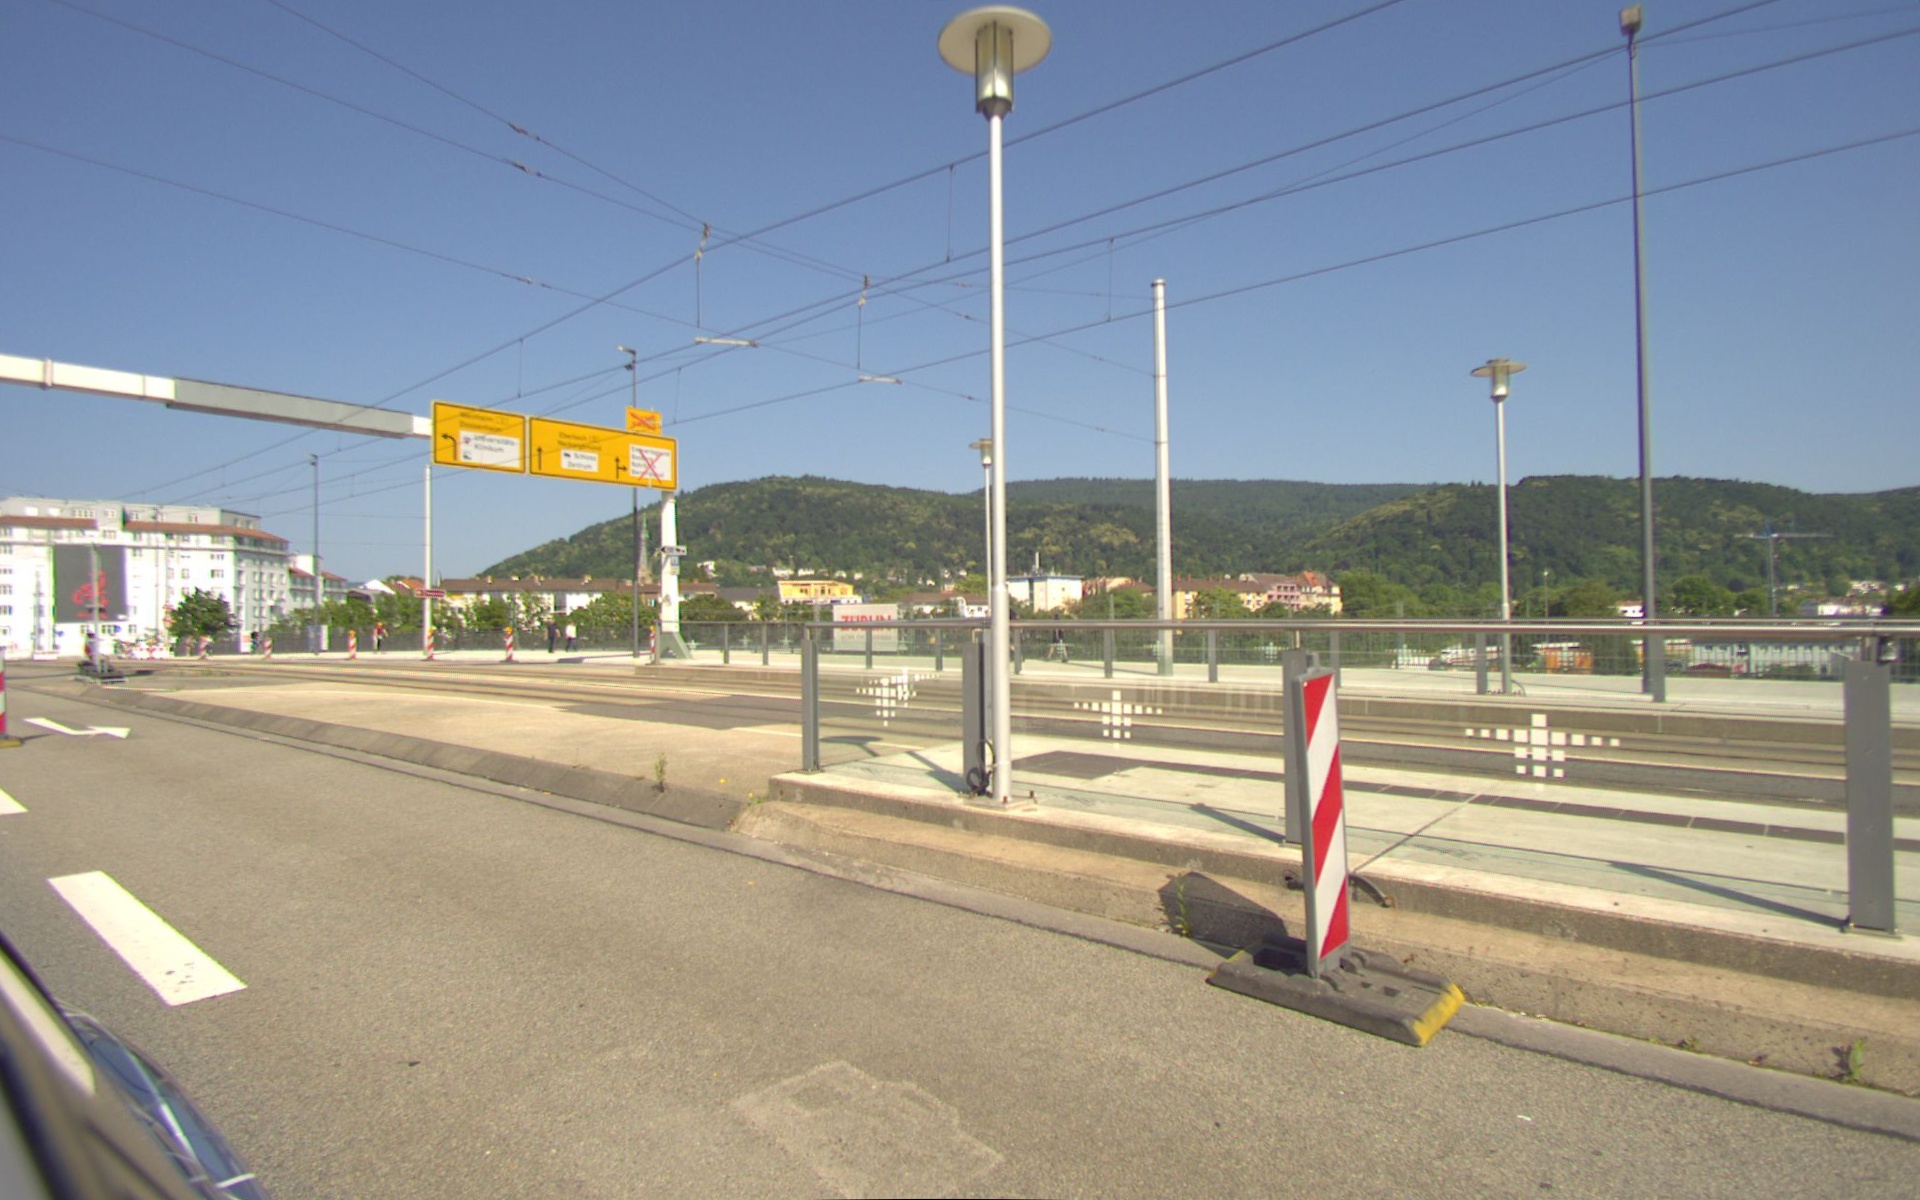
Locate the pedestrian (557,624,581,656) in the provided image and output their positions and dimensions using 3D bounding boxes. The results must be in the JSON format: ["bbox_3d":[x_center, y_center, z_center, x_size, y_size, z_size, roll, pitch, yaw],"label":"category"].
[{"bbox_3d":[-19.405,1.990,50.237,0.887,1.556,0.713,-3,0,38],"label":"pedestrian"}]

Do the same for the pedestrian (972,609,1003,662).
[{"bbox_3d":[0.897,1.157,32.995,0.817,1.700,0.591,-3,-3,41],"label":"pedestrian"}]

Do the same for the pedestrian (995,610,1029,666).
[{"bbox_3d":[1.596,1.160,31.051,0.731,1.700,0.745,-3,-3,41],"label":"pedestrian"}]

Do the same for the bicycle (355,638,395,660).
[{"bbox_3d":[-33.892,2.837,58.609,3.067,1.204,0.848,-3,-1,38],"label":"bicycle"}]

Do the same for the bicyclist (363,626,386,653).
[{"bbox_3d":[-33.906,2.307,58.605,0.816,1.530,0.848,-3,-1,37],"label":"bicyclist"}]

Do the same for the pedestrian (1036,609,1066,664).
[{"bbox_3d":[2.826,1.141,31.522,0.772,1.700,0.498,-3,-3,42],"label":"pedestrian"}]

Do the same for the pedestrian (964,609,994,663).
[{"bbox_3d":[0.610,1.148,32.367,0.807,1.700,0.481,-3,-3,42],"label":"pedestrian"}]

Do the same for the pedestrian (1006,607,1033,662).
[{"bbox_3d":[1.872,1.075,31.827,0.770,1.700,0.379,-3,-3,42],"label":"pedestrian"}]

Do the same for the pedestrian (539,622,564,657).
[{"bbox_3d":[-20.054,1.943,49.664,0.893,1.654,0.737,-3,0,38],"label":"pedestrian"}]
